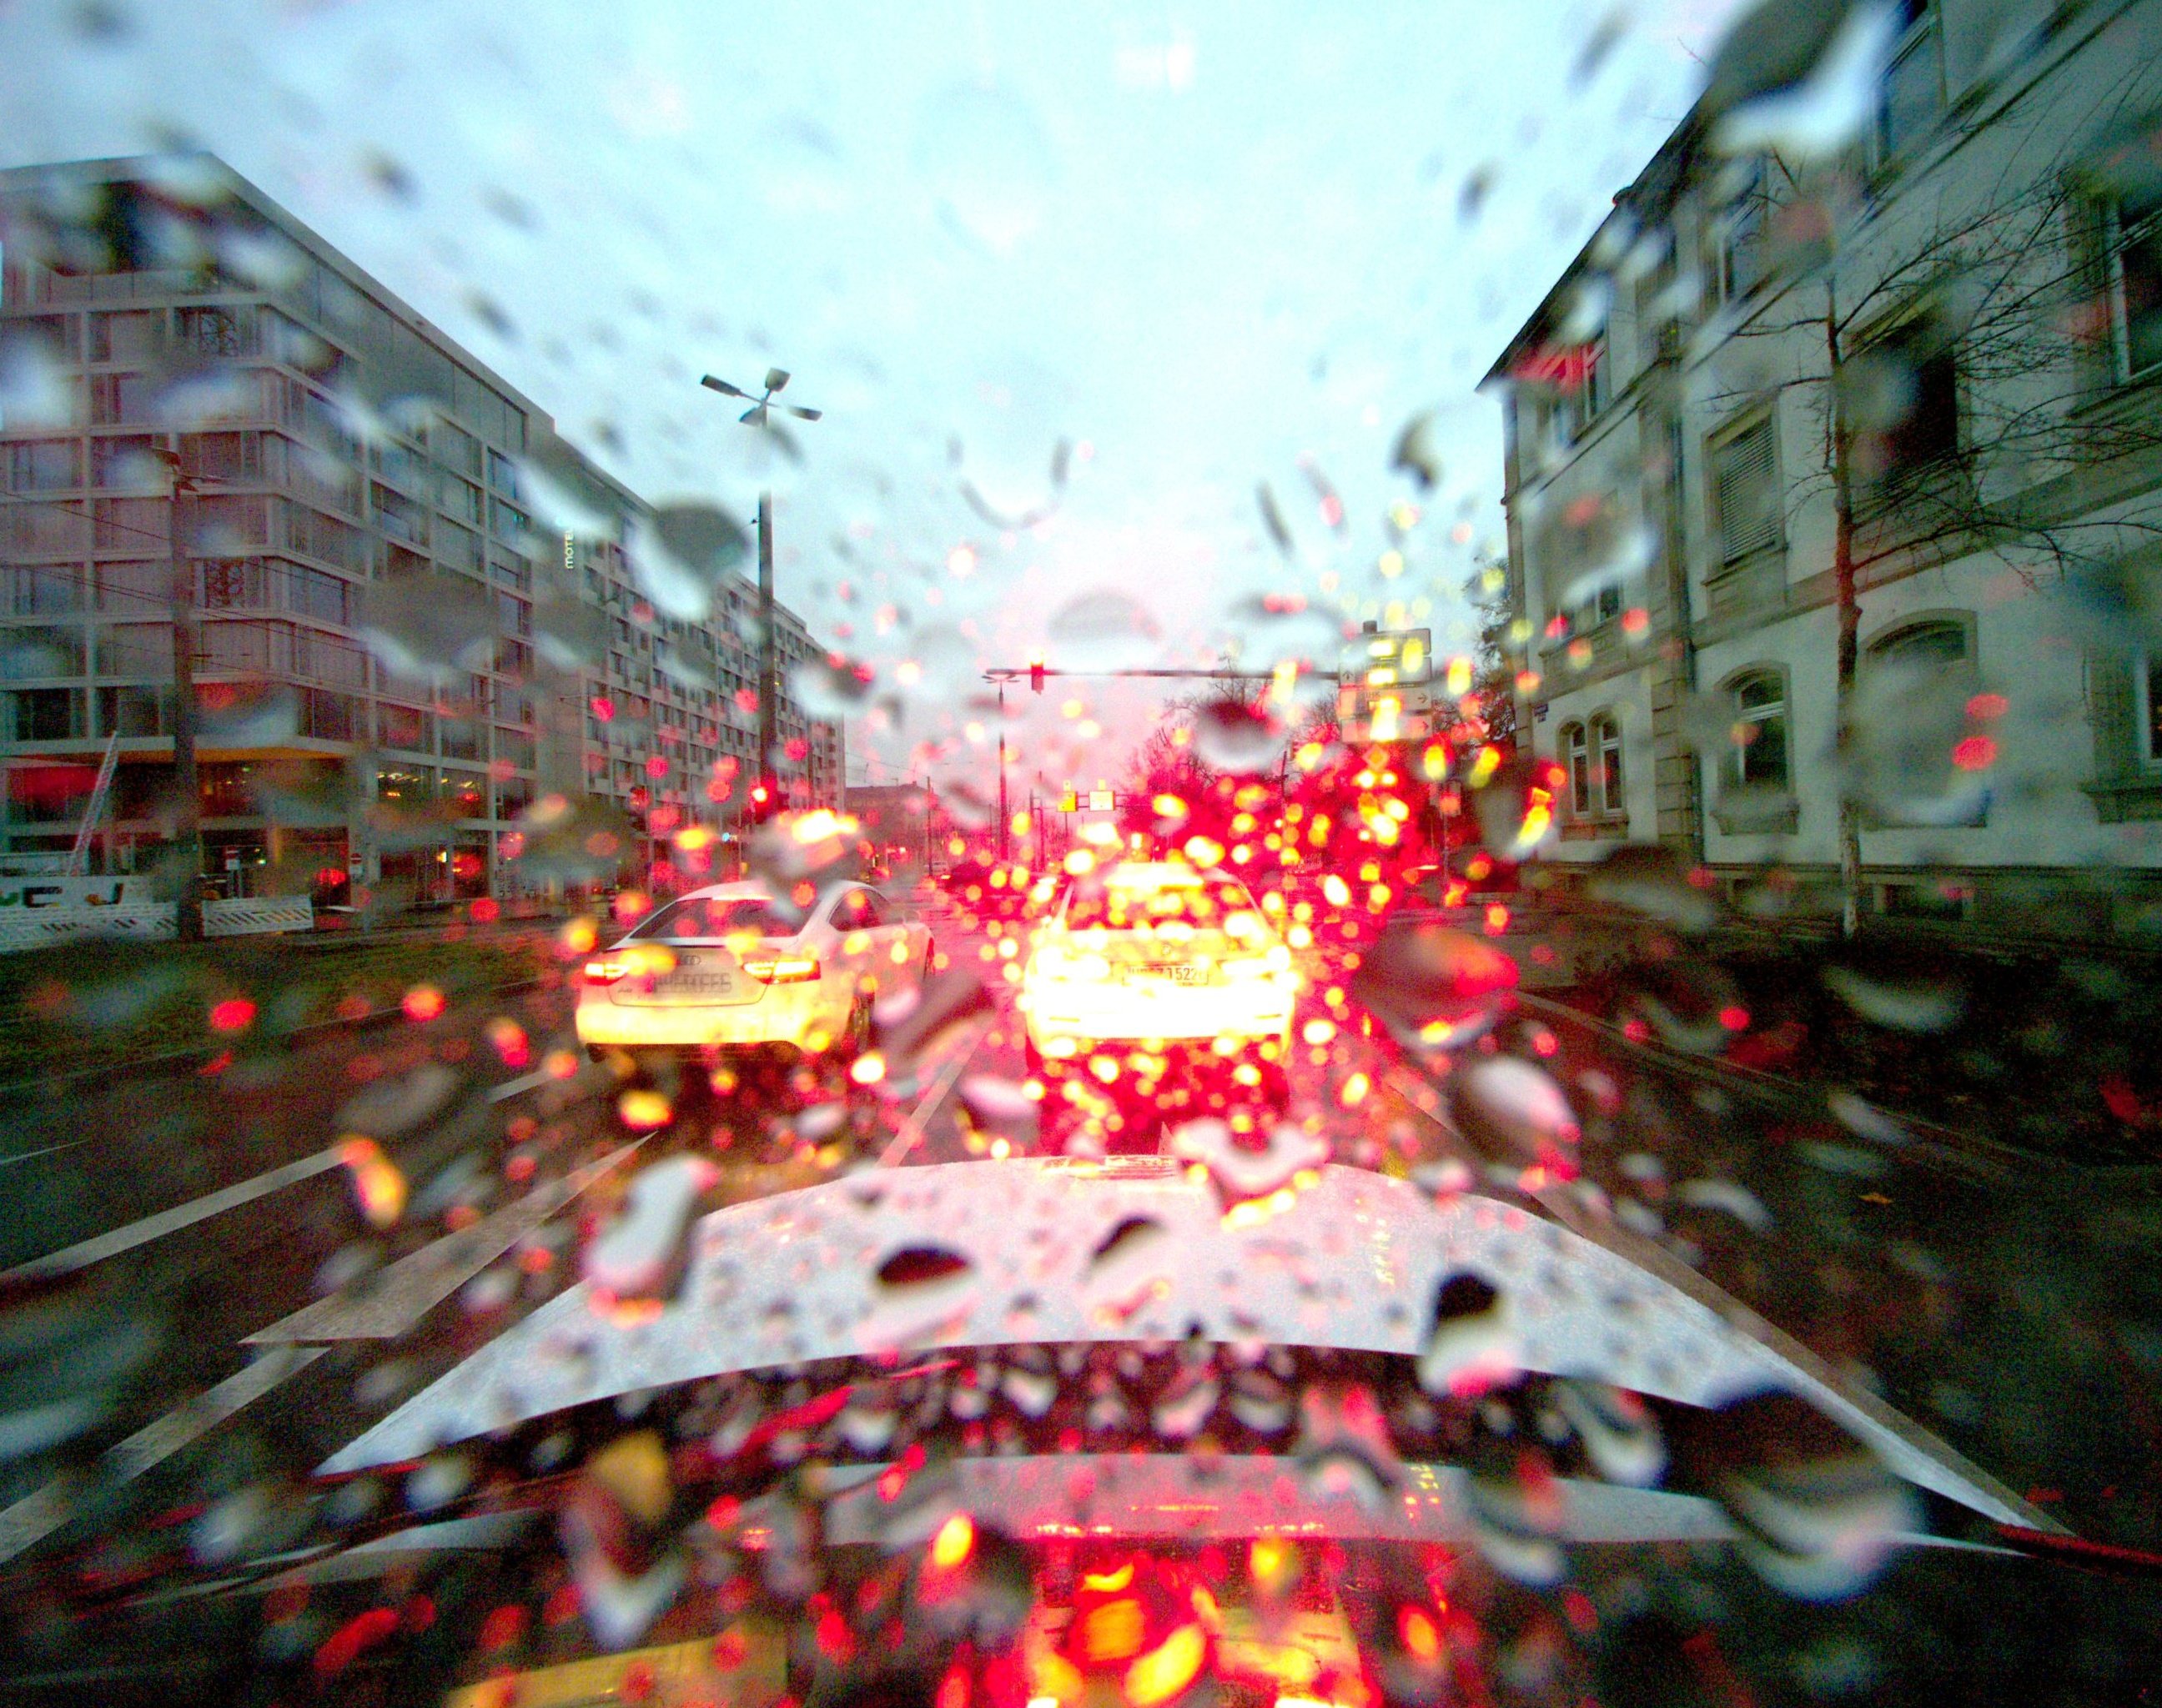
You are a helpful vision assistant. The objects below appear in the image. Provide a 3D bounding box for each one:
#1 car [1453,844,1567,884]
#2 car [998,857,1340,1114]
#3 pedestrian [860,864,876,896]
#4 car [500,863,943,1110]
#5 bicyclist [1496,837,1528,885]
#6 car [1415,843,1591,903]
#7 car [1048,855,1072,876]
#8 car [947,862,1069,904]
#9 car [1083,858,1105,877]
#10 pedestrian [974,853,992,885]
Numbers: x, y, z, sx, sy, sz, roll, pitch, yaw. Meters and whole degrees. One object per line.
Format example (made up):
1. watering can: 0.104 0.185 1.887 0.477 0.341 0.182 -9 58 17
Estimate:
1. car: 17.172 0.406 32.790 3.920 1.554 1.759 0 -1 23
2. car: 0.521 0.774 6.960 1.987 1.456 4.367 -1 0 0
3. pedestrian: -11.722 1.419 44.806 0.791 1.712 0.809 0 -1 -13
4. car: -2.602 0.843 7.253 1.987 1.456 4.367 -1 0 0
5. bicyclist: 16.302 0.272 30.852 0.964 1.759 0.817 0 -1 21
6. car: 12.845 0.600 25.163 4.654 1.720 1.911 -1 -1 22
7. car: -1.703 0.944 65.951 1.839 1.609 3.940 0 -1 -3
8. car: -2.778 1.066 31.197 4.278 1.530 1.771 0 -1 18
9. car: 1.171 1.182 70.537 1.836 1.609 3.946 0 -1 1
10. pedestrian: -5.651 0.857 46.885 0.905 1.856 0.807 0 -1 -18
